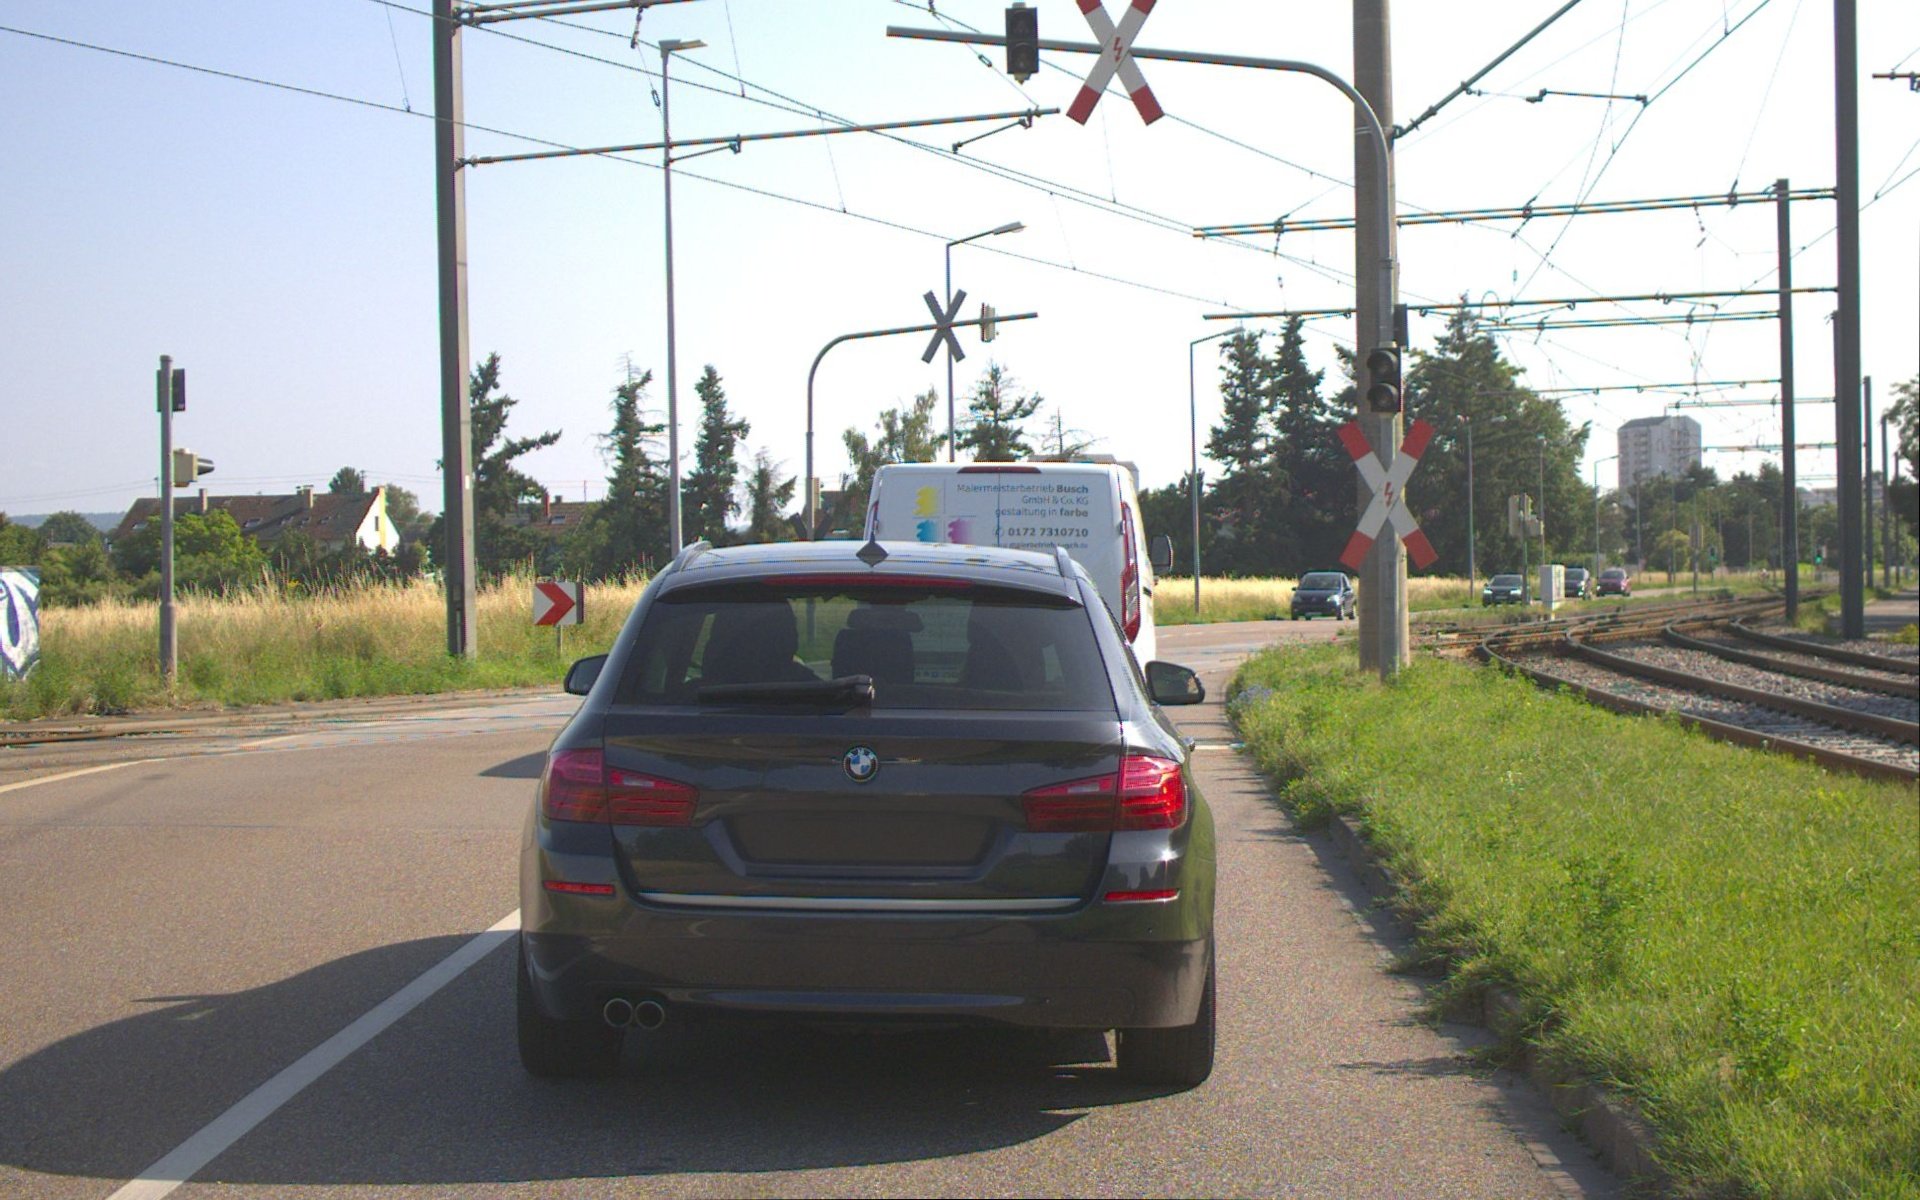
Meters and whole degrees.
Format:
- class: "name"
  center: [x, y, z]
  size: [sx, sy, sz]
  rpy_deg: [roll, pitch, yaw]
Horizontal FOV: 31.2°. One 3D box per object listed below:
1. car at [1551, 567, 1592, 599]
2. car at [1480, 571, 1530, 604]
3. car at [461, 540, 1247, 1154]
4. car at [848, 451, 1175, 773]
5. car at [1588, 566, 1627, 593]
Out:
- class: "car"
  center: [32.012, -0.912, 179.844]
  size: [1.707, 1.659, 4.586]
  rpy_deg: [0, 1, 15]
- class: "car"
  center: [24.233, -0.573, 152.811]
  size: [1.694, 1.435, 4.280]
  rpy_deg: [1, 1, 16]
- class: "car"
  center: [-0.282, 0.549, 10.569]
  size: [1.869, 1.447, 4.744]
  rpy_deg: [0, 1, -1]
- class: "car"
  center: [0.471, 0.038, 23.789]
  size: [1.858, 1.981, 5.107]
  rpy_deg: [0, 1, 5]
- class: "car"
  center: [37.237, -1.192, 197.764]
  size: [1.714, 1.544, 3.925]
  rpy_deg: [0, 1, 18]
